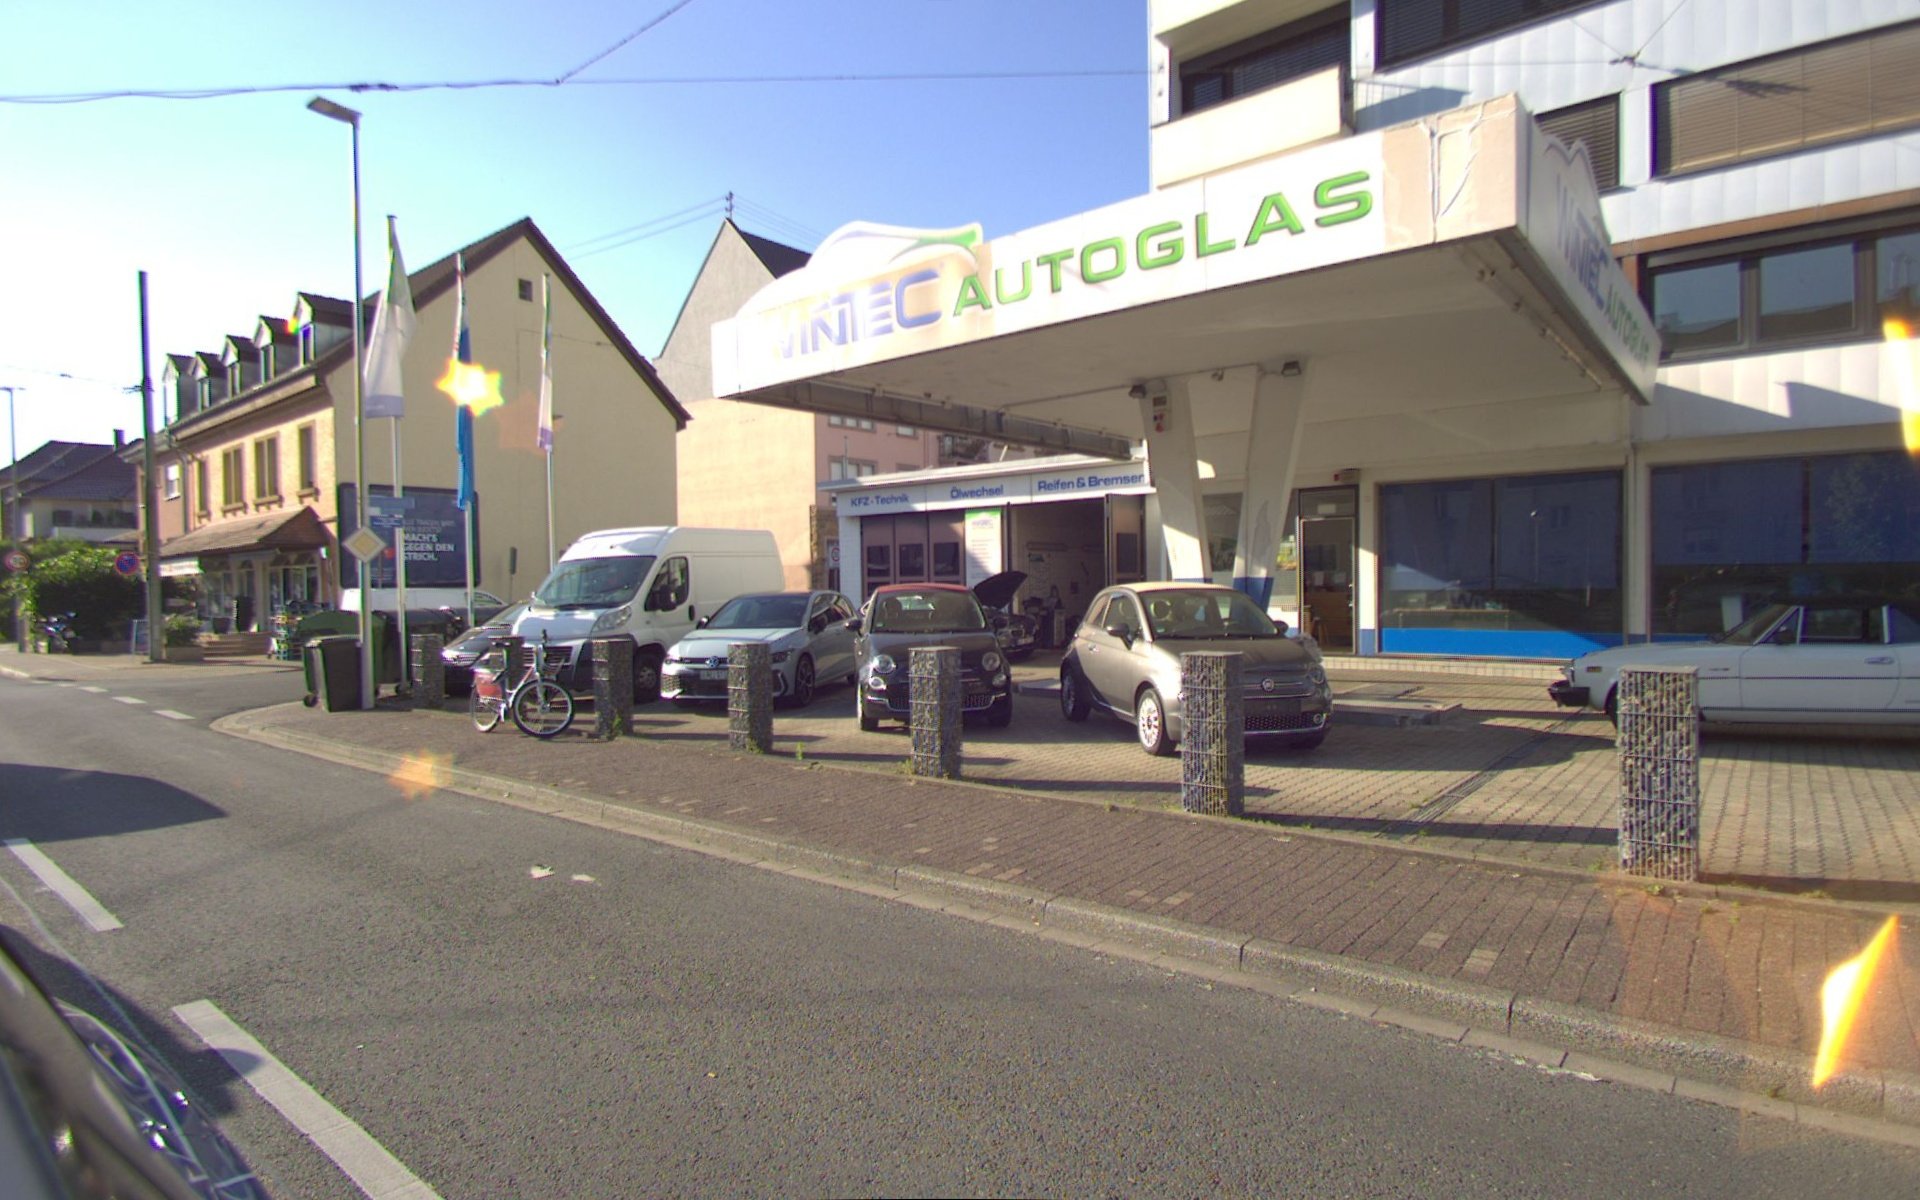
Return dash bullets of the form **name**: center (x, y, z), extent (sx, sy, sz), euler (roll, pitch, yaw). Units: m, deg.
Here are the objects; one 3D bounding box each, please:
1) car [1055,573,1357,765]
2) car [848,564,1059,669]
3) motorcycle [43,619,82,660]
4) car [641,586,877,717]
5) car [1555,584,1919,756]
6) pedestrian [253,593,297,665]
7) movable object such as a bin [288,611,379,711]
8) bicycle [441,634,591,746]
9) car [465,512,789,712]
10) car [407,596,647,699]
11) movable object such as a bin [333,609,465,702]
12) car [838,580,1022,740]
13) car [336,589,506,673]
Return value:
- **car**: center (2.153, 0.536, 9.793), extent (1.517, 1.497, 3.381), euler (-1, 0, -11)
- **car**: center (-0.206, 0.322, 20.919), extent (4.255, 1.958, 1.720), euler (-1, 0, 40)
- **motorcycle**: center (-27.967, 1.206, 31.529), extent (2.186, 1.226, 0.699), euler (-1, 0, 43)
- **car**: center (-2.532, 0.590, 13.804), extent (1.725, 1.508, 4.016), euler (-1, 0, 12)
- **car**: center (7.385, 0.544, 8.570), extent (3.898, 1.308, 1.506), euler (-1, -1, 37)
- **pedestrian**: center (-18.245, 0.759, 26.953), extent (0.754, 1.866, 0.825), euler (-1, 0, -18)
- **movable object such as a bin**: center (-9.706, 0.919, 15.713), extent (1.030, 1.475, 0.798), euler (-1, 0, -18)
- **bicycle**: center (-4.896, 0.943, 11.121), extent (1.789, 1.094, 0.716), euler (-1, 1, 37)
- **car**: center (-4.688, 0.133, 15.223), extent (2.098, 2.472, 4.963), euler (-1, 0, 18)
- **car**: center (-7.062, 0.705, 17.008), extent (1.725, 1.488, 4.016), euler (-1, 0, 12)
- **movable object such as a bin**: center (-9.577, 0.917, 17.369), extent (1.039, 1.475, 1.787), euler (-1, 0, 15)
- **car**: center (-0.483, 0.566, 11.508), extent (1.569, 1.508, 3.443), euler (-1, 0, -10)
- **car**: center (-13.893, 0.741, 26.252), extent (1.449, 2.029, 3.628), euler (-1, 0, 37)
